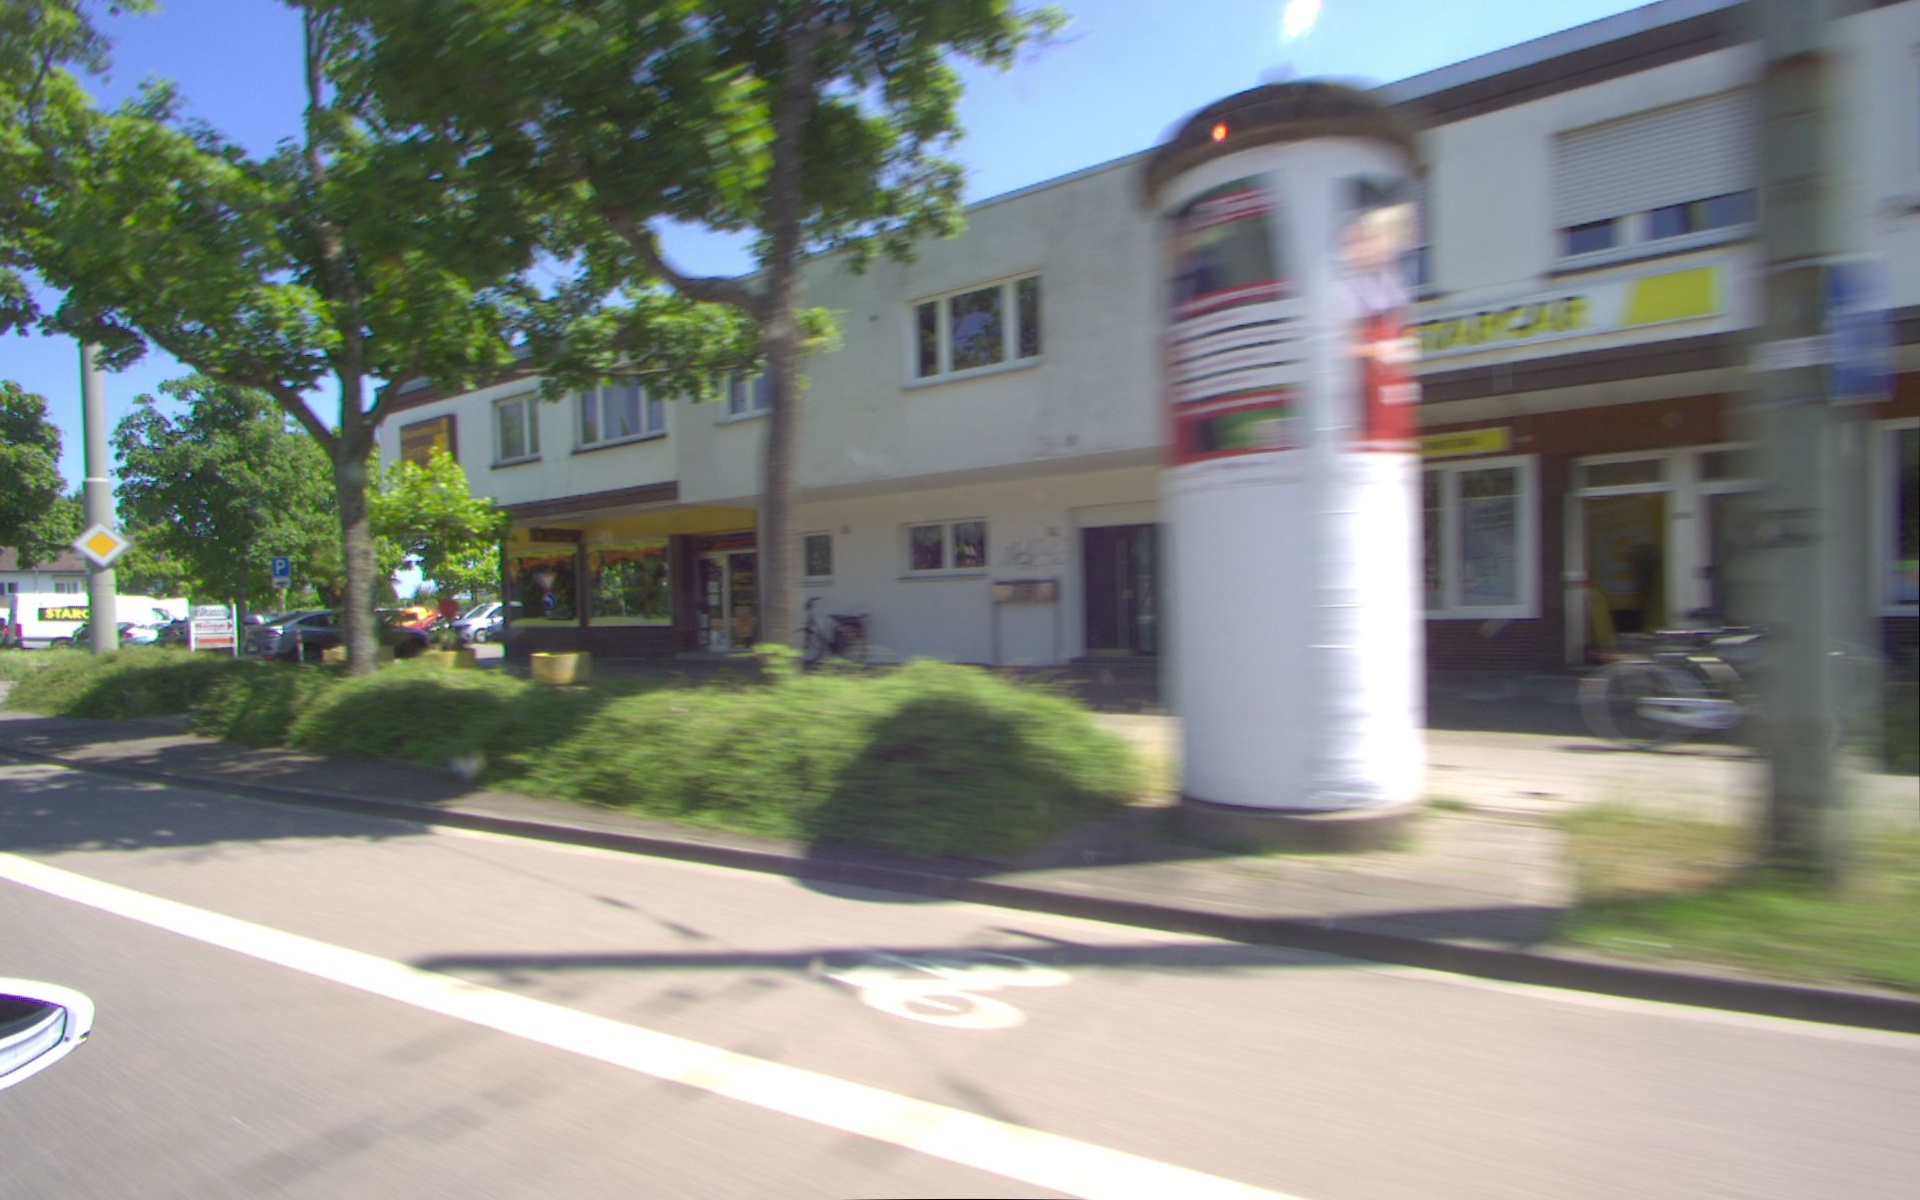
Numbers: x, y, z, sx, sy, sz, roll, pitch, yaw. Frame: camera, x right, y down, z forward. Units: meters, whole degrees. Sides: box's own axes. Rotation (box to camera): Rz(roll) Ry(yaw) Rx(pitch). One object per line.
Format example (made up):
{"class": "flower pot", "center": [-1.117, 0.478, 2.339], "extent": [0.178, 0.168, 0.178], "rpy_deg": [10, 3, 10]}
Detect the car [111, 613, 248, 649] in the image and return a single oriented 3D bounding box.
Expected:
{"class": "car", "center": [-30.278, 1.213, 38.925], "extent": [1.704, 1.342, 3.877], "rpy_deg": [-1, -2, 34]}

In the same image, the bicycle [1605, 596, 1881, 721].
{"class": "bicycle", "center": [7.292, 0.529, 9.458], "extent": [1.993, 1.082, 0.541], "rpy_deg": [-1, 1, 31]}

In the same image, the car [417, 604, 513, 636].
{"class": "car", "center": [-26.183, 1.039, 53.069], "extent": [1.611, 1.456, 4.294], "rpy_deg": [-1, 2, 36]}

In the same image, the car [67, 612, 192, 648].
{"class": "car", "center": [-36.149, 1.311, 43.658], "extent": [1.703, 1.491, 3.879], "rpy_deg": [-1, -2, 33]}

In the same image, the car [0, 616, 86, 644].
{"class": "car", "center": [-49.212, 1.600, 52.913], "extent": [1.703, 1.424, 4.268], "rpy_deg": [-1, -2, 33]}

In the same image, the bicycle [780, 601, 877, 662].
{"class": "bicycle", "center": [-2.488, 0.586, 18.843], "extent": [1.873, 1.082, 0.541], "rpy_deg": [-1, 1, 31]}

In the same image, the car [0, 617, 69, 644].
{"class": "car", "center": [-51.433, 1.670, 54.658], "extent": [1.703, 1.424, 3.879], "rpy_deg": [-1, -2, 33]}

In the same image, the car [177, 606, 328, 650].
{"class": "car", "center": [-25.591, 1.024, 36.366], "extent": [1.656, 1.509, 4.189], "rpy_deg": [-1, -2, 34]}

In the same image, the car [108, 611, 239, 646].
{"class": "car", "center": [-31.930, 1.183, 40.751], "extent": [1.704, 1.342, 3.877], "rpy_deg": [-1, -2, 34]}

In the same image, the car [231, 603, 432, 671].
{"class": "car", "center": [-16.686, 0.934, 26.796], "extent": [1.917, 1.632, 4.130], "rpy_deg": [-1, 0, 32]}

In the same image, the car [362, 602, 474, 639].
{"class": "car", "center": [-30.394, 1.120, 56.299], "extent": [2.067, 1.776, 5.135], "rpy_deg": [-1, 2, 36]}

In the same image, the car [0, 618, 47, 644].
{"class": "car", "center": [-53.550, 1.727, 55.627], "extent": [1.702, 1.424, 3.882], "rpy_deg": [-1, -2, 30]}

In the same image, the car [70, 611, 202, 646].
{"class": "car", "center": [-34.230, 1.199, 41.697], "extent": [1.702, 1.398, 3.883], "rpy_deg": [-1, -2, 29]}

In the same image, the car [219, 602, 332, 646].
{"class": "car", "center": [-43.631, 1.508, 63.969], "extent": [2.067, 2.493, 5.470], "rpy_deg": [-1, 2, 36]}

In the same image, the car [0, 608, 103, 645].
{"class": "car", "center": [-46.789, 1.379, 51.434], "extent": [1.926, 1.807, 3.774], "rpy_deg": [-1, -2, 31]}

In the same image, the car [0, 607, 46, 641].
{"class": "car", "center": [-55.727, 1.392, 57.522], "extent": [1.926, 1.933, 4.400], "rpy_deg": [-1, -2, 31]}

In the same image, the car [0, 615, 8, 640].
{"class": "car", "center": [-64.334, 1.740, 64.054], "extent": [1.929, 1.665, 4.679], "rpy_deg": [-1, -2, 36]}

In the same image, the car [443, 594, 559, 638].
{"class": "car", "center": [-22.574, 0.764, 49.440], "extent": [1.883, 1.926, 4.901], "rpy_deg": [-1, 2, 35]}

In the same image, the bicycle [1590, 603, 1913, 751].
{"class": "bicycle", "center": [6.295, 0.586, 8.116], "extent": [1.993, 1.082, 0.541], "rpy_deg": [-1, 1, 31]}

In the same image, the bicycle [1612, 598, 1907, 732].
{"class": "bicycle", "center": [7.015, 0.547, 8.922], "extent": [1.993, 1.082, 0.541], "rpy_deg": [-1, 1, 31]}

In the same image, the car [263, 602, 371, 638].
{"class": "car", "center": [-39.325, 1.216, 61.357], "extent": [2.067, 1.901, 5.077], "rpy_deg": [-1, 2, 36]}

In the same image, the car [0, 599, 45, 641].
{"class": "car", "center": [-58.091, 1.178, 59.299], "extent": [2.067, 2.491, 5.475], "rpy_deg": [-1, -2, 36]}

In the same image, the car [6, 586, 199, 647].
{"class": "car", "center": [-38.556, 0.807, 45.207], "extent": [2.235, 2.561, 6.318], "rpy_deg": [-1, -2, 38]}

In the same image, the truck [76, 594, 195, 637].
{"class": "truck", "center": [-67.024, 1.241, 81.559], "extent": [2.392, 3.127, 6.924], "rpy_deg": [-1, 2, 34]}

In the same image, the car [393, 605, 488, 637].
{"class": "car", "center": [-28.292, 1.124, 54.675], "extent": [1.611, 1.456, 4.294], "rpy_deg": [-1, 2, 36]}

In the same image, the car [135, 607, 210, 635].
{"class": "car", "center": [-59.079, 1.572, 75.159], "extent": [1.729, 1.832, 3.989], "rpy_deg": [-1, 2, 32]}

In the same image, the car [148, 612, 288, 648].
{"class": "car", "center": [-27.791, 1.128, 37.602], "extent": [1.704, 1.297, 3.877], "rpy_deg": [-1, -2, 34]}

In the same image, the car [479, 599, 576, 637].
{"class": "car", "center": [-20.821, 0.844, 48.354], "extent": [1.611, 1.626, 3.965], "rpy_deg": [-1, 2, 36]}

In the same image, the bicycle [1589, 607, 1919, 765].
{"class": "bicycle", "center": [5.978, 0.613, 7.626], "extent": [1.993, 1.082, 0.541], "rpy_deg": [-1, 1, 31]}
